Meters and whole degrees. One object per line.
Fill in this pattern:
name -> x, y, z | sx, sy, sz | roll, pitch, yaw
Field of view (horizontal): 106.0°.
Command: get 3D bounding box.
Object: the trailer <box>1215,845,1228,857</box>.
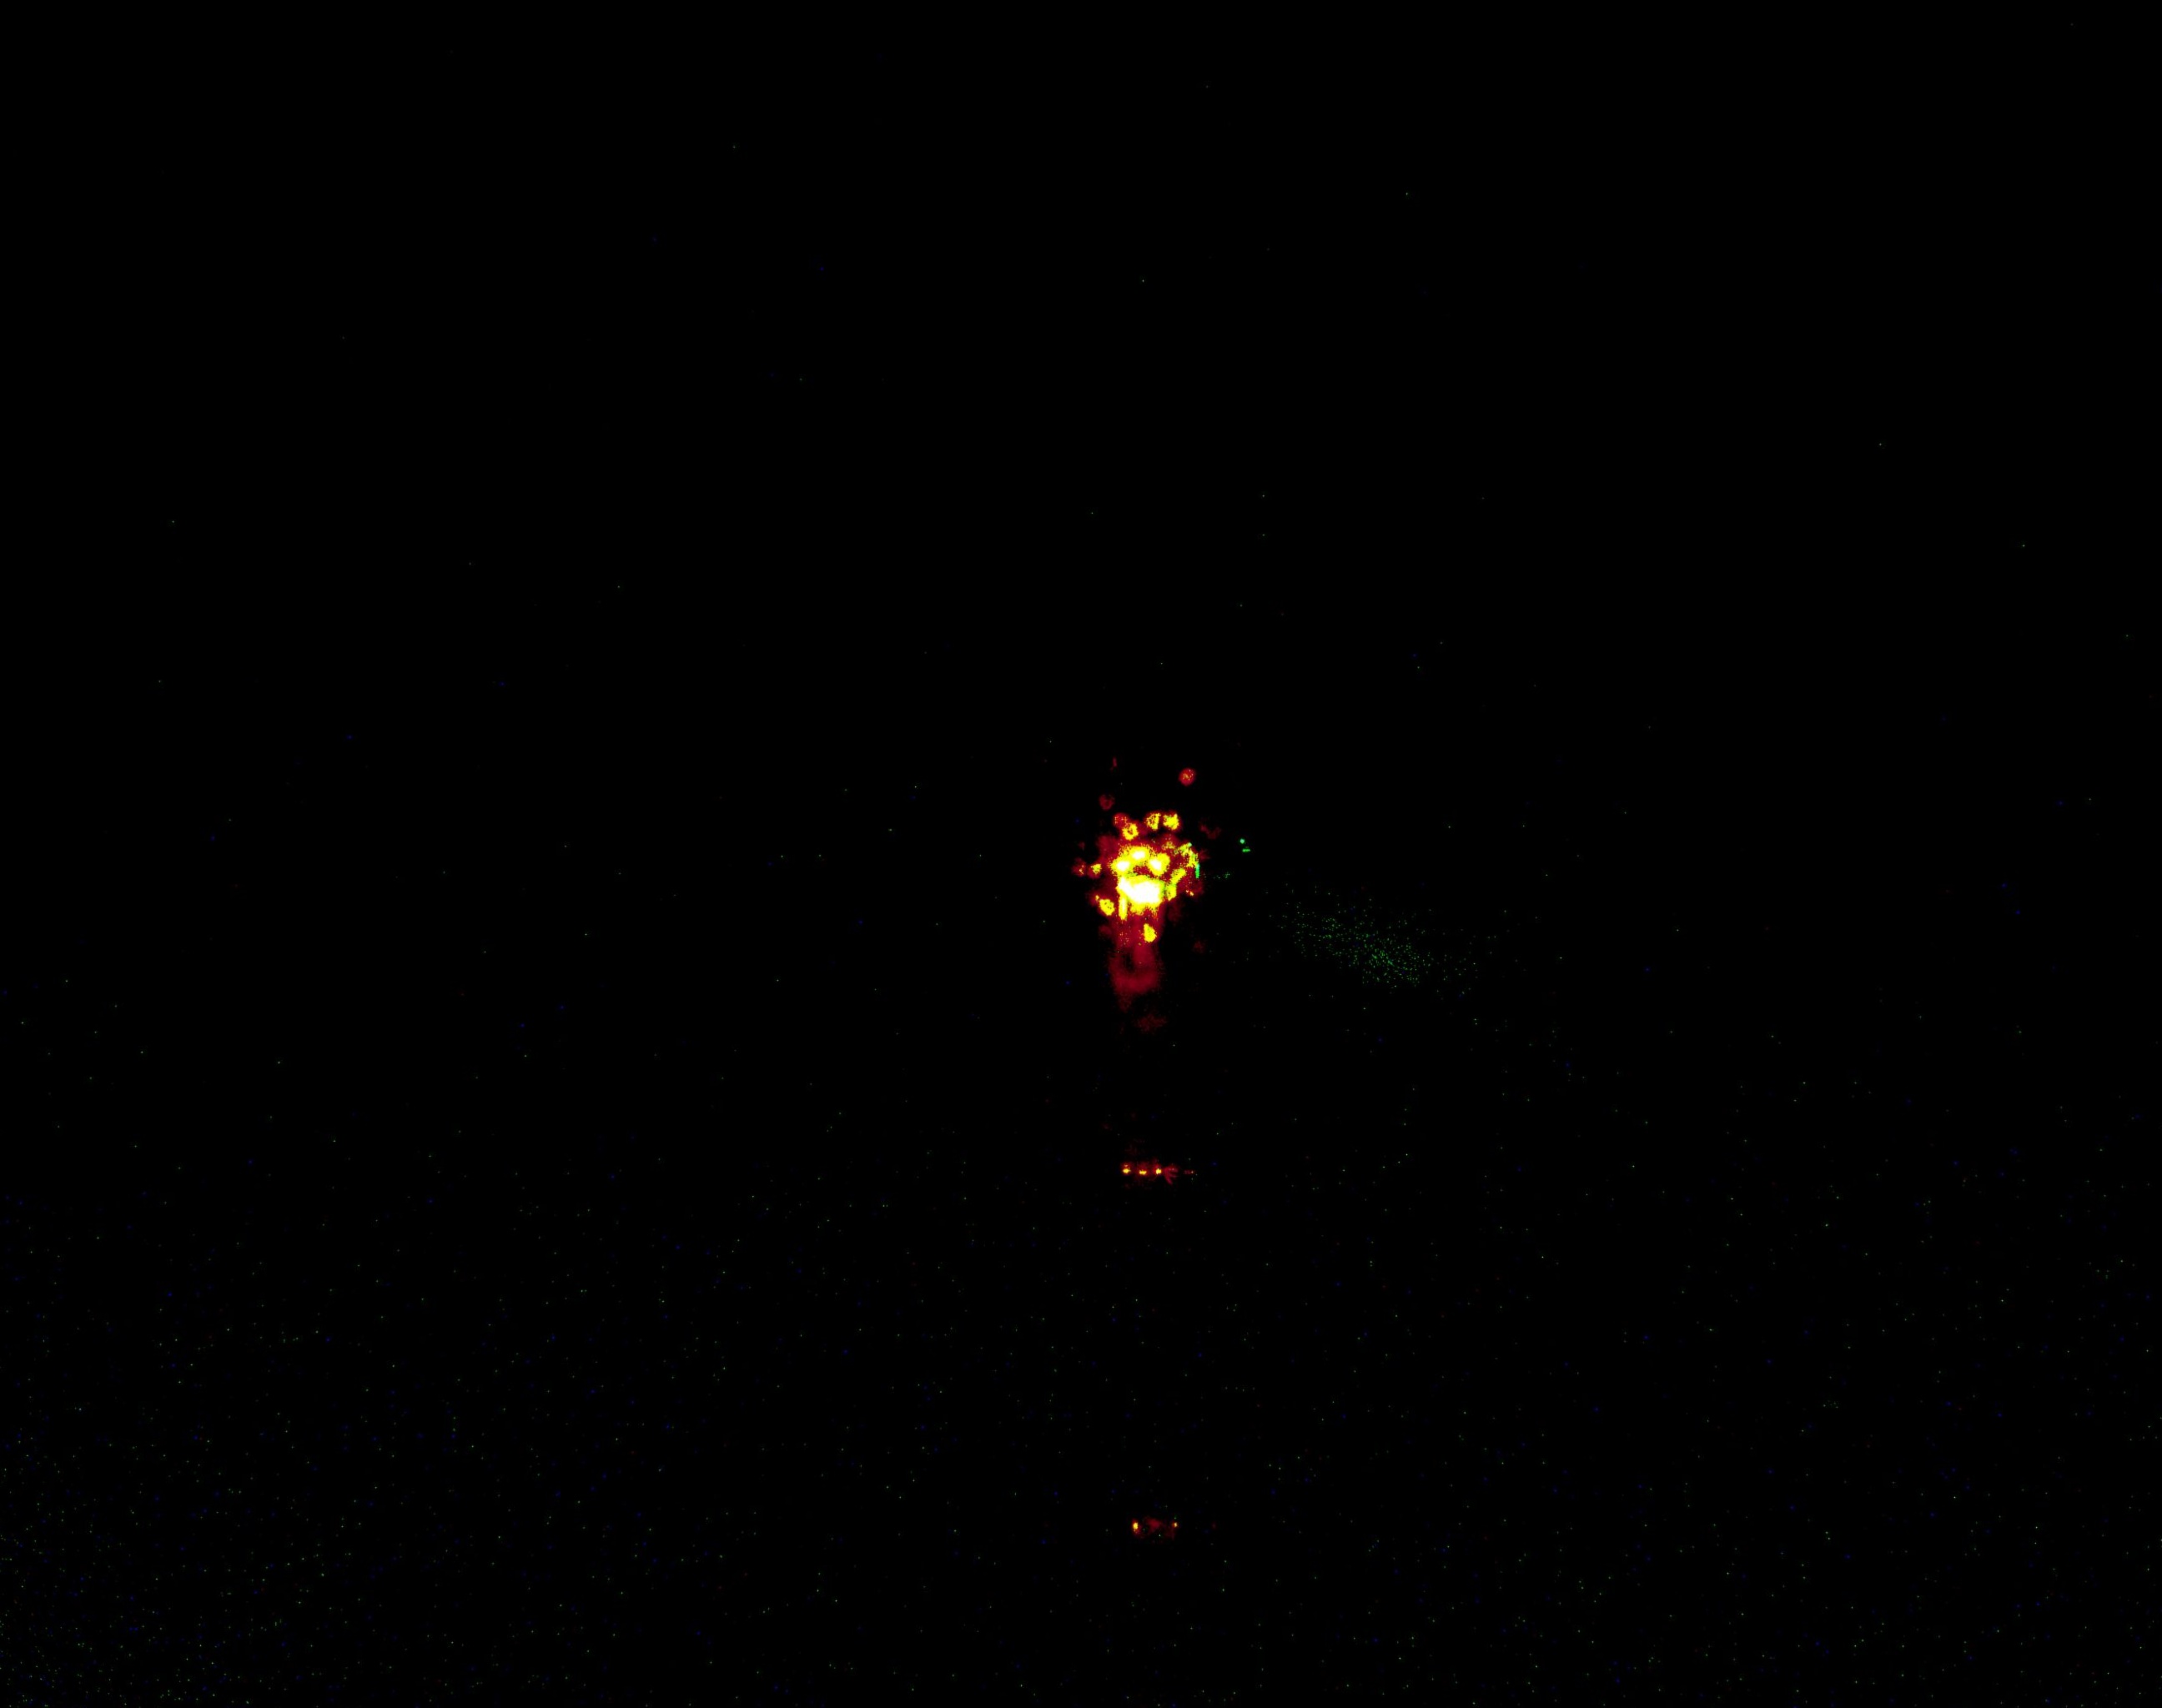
trailer -> 29.183, -0.546, 168.916 | 1.626, 2.364, 4.648 | 0, 0, -3

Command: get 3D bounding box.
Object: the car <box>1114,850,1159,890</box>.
car -> 2.500, 0.654, 36.014 | 1.793, 1.628, 3.621 | -2, 0, 5

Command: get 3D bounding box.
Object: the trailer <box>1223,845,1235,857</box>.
trailer -> 29.756, -0.575, 163.866 | 1.601, 2.352, 4.427 | 0, 0, -2
